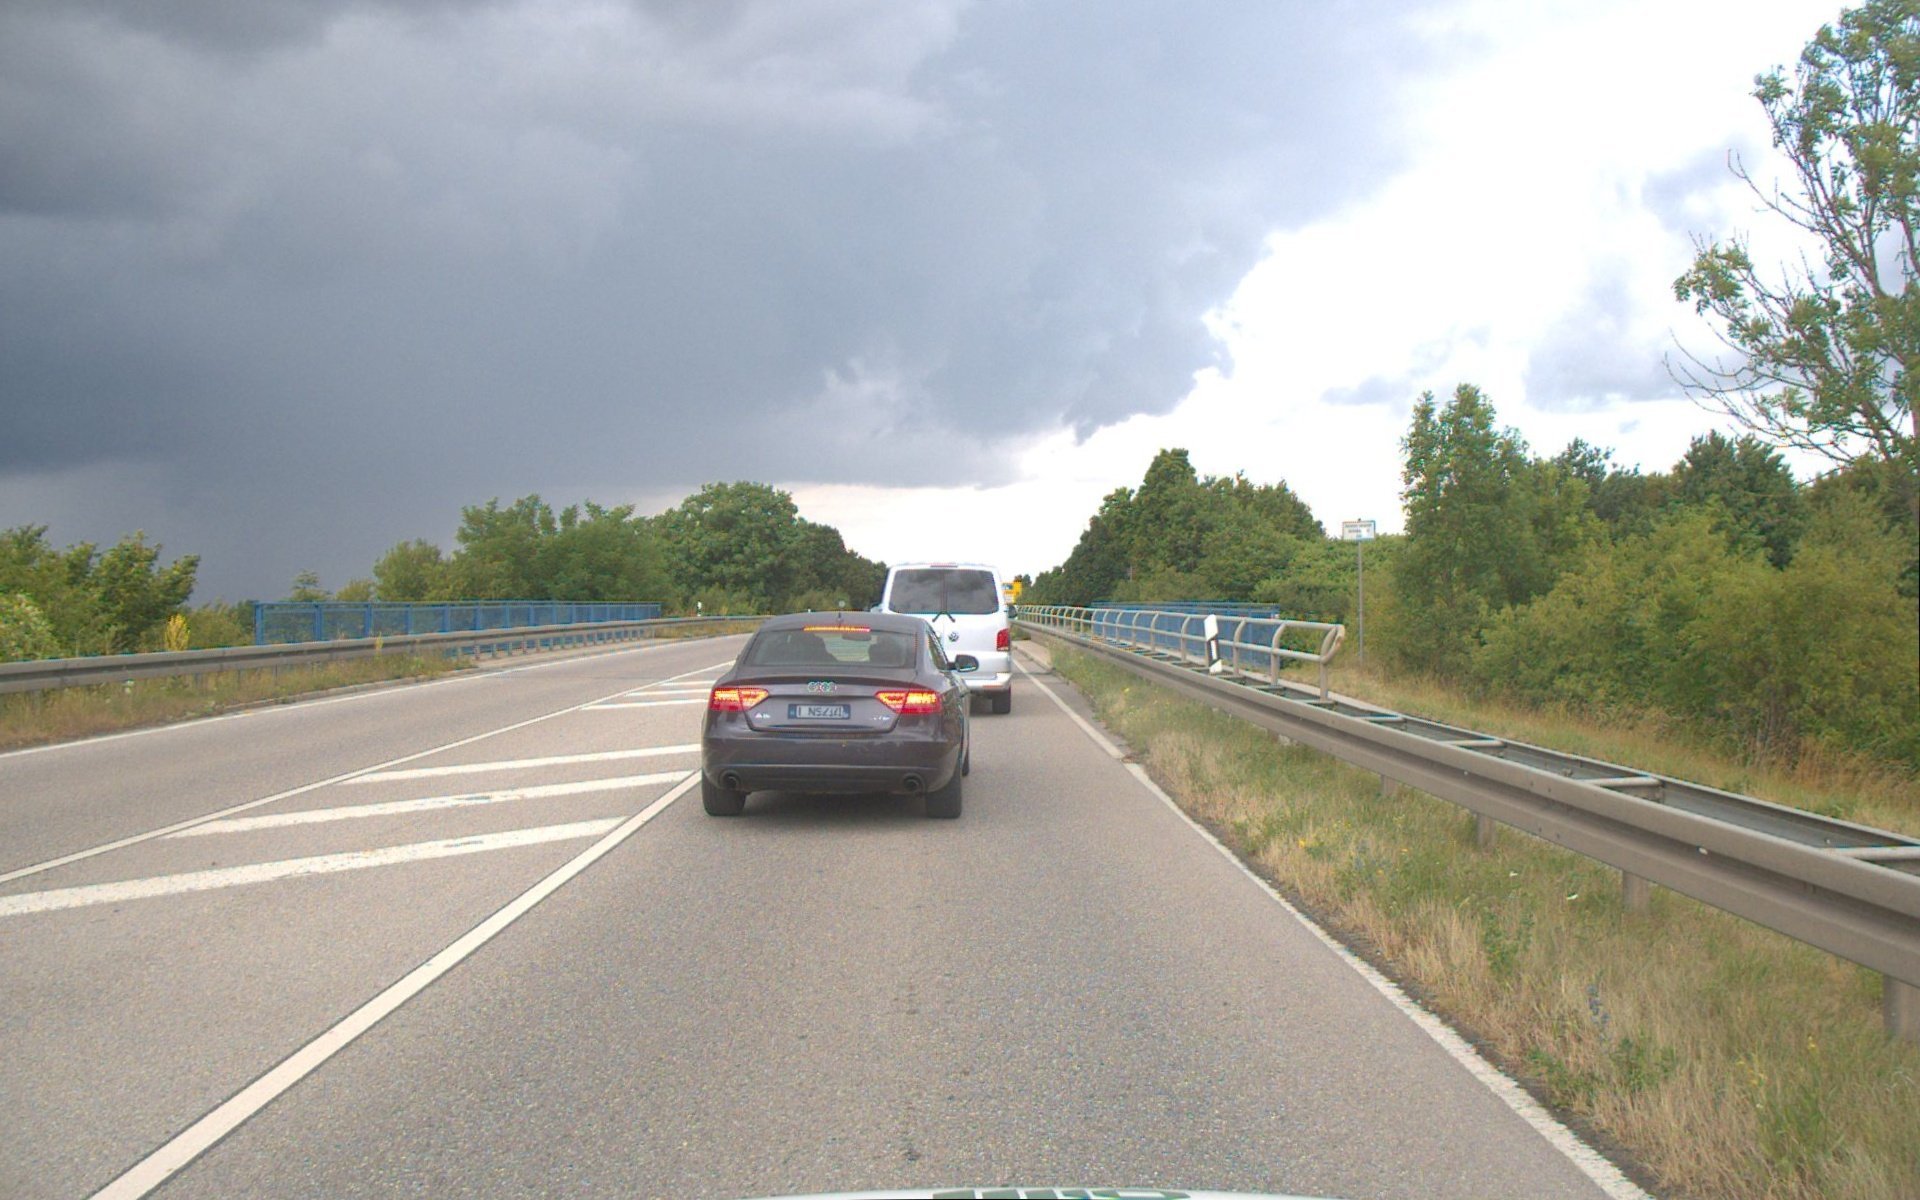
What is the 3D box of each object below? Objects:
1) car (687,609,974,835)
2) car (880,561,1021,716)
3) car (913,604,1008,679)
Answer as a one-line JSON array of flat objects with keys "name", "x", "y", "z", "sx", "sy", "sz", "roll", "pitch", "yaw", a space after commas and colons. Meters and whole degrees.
[{"name": "car", "x": -0.798, "y": 0.780, "z": 12.444, "sx": 1.784, "sy": 1.405, "sz": 4.072, "roll": 0, "pitch": 0, "yaw": 1}, {"name": "car", "x": -0.136, "y": 0.499, "z": 23.126, "sx": 1.791, "sy": 1.969, "sz": 3.999, "roll": 0, "pitch": 0, "yaw": -1}, {"name": "car", "x": 0.031, "y": 0.784, "z": 33.170, "sx": 1.784, "sy": 1.405, "sz": 4.072, "roll": 0, "pitch": 0, "yaw": 1}]
